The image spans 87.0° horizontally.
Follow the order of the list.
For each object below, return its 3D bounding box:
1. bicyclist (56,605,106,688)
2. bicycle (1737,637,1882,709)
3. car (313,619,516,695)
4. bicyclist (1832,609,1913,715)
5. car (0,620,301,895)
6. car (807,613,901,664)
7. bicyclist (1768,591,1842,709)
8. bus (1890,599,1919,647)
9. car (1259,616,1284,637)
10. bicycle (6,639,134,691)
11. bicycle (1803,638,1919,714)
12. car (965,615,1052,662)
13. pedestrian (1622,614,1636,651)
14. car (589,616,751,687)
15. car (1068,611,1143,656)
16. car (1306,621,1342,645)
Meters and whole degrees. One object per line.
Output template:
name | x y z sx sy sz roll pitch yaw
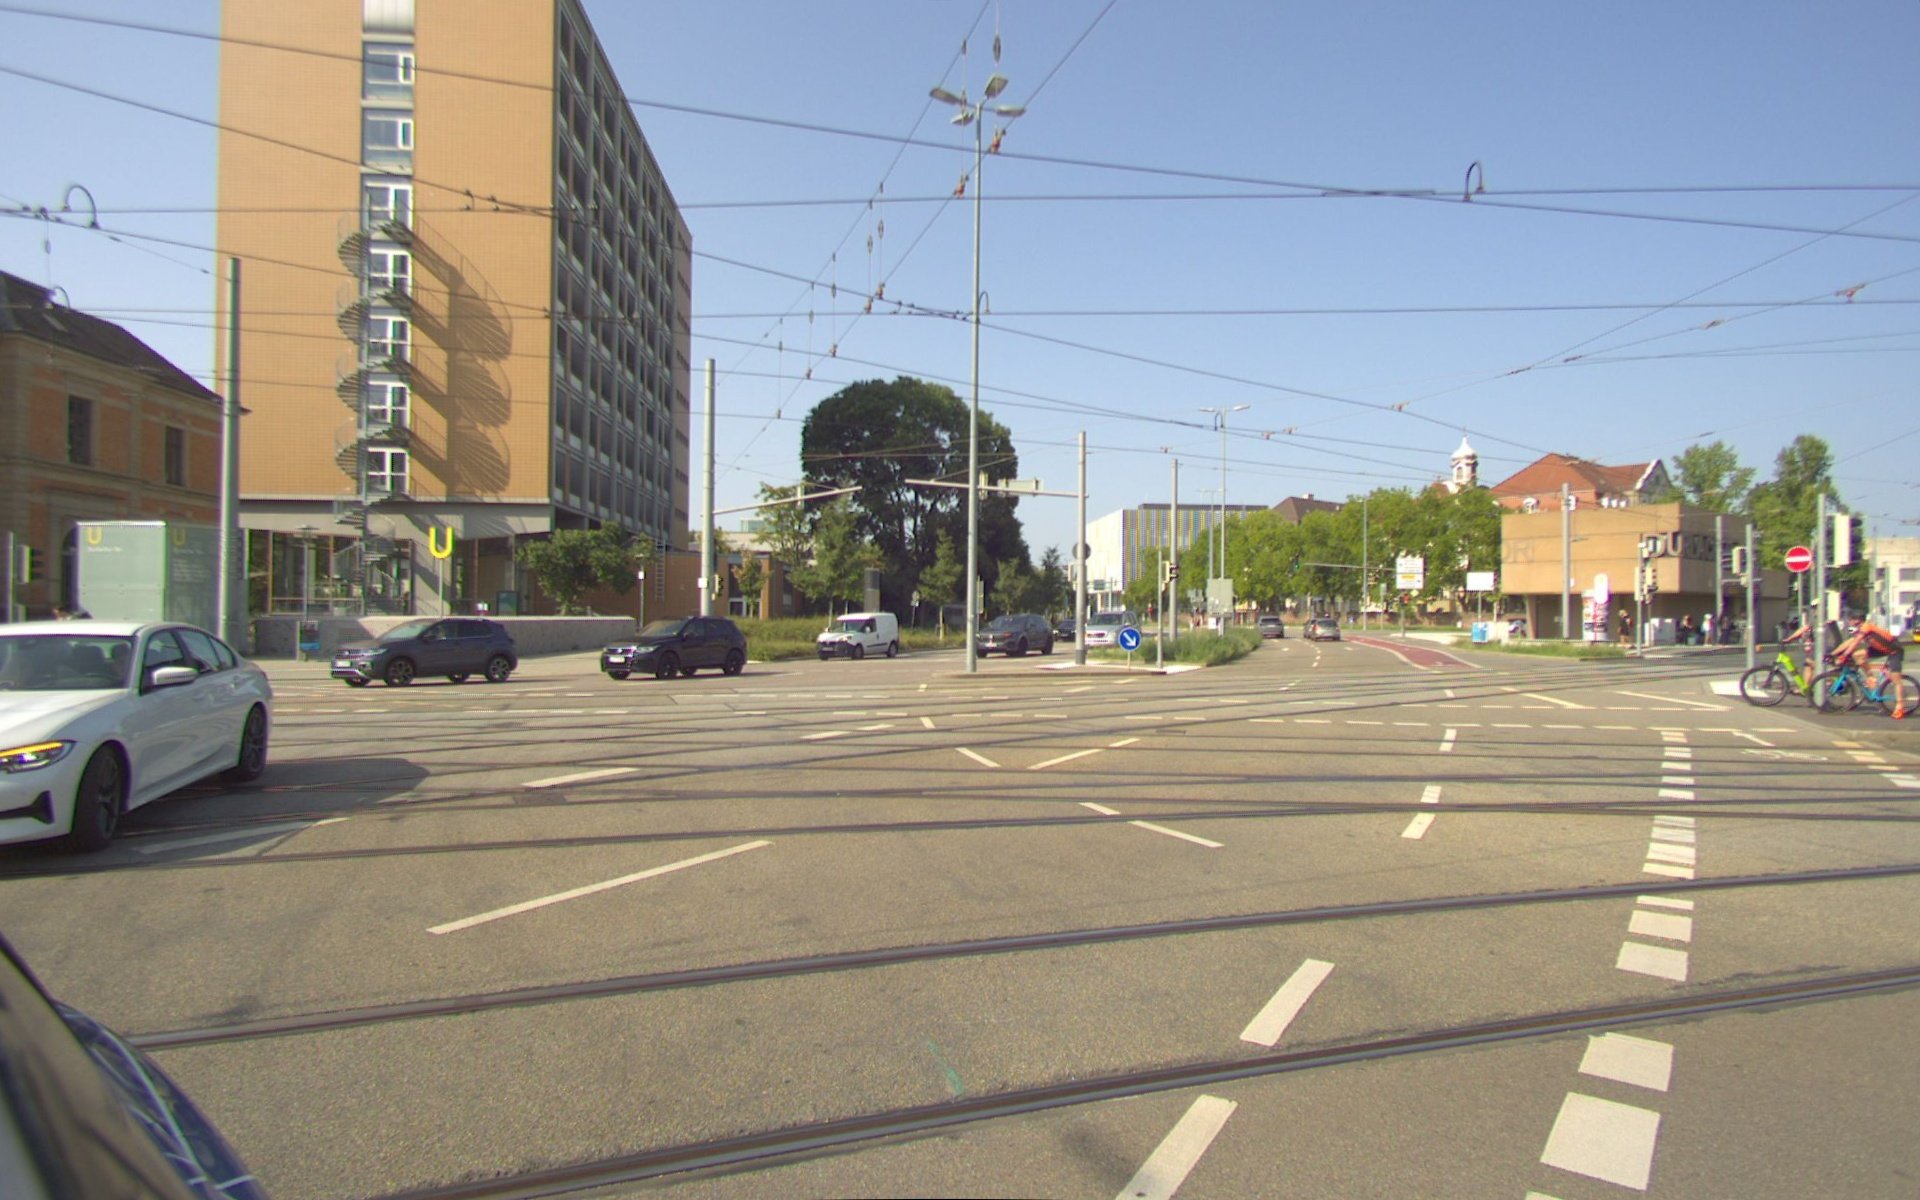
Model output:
bicyclist | -20.374 1.067 23.461 0.781 1.876 0.701 -1 -1 37
bicycle | 14.542 1.230 17.376 1.848 1.174 0.374 -1 -1 24
car | -12.685 1.270 23.775 1.735 1.594 3.938 -1 -1 27
bicyclist | 14.479 0.963 16.076 0.803 1.642 0.508 -1 -1 24
car | -6.655 0.892 7.419 1.784 1.438 4.788 -1 -1 -17
car | -4.192 1.503 40.644 1.785 1.901 4.252 -3 -2 26
bicyclist | 14.507 0.843 17.398 0.802 1.989 0.577 -1 -1 23
bus | 74.153 1.708 77.095 13.107 3.445 3.230 1 -1 -40
car | 22.527 1.922 73.191 1.479 1.462 3.509 0 -1 13
bicycle | -20.472 1.478 23.332 0.528 1.104 2.160 -1 -1 36
bicycle | 14.433 1.196 16.117 1.490 1.174 0.309 -1 -1 24
car | 1.978 1.490 40.212 1.915 1.720 4.252 -3 -2 26
pedestrian | 31.849 1.548 48.181 0.550 1.782 0.404 1 -1 -36
car | -7.594 1.309 26.931 1.759 1.720 4.252 -3 -2 26
car | 6.079 1.351 41.902 1.940 1.720 4.255 -2 -2 24
car | 23.745 2.124 66.084 1.765 1.519 3.983 0 -1 13
